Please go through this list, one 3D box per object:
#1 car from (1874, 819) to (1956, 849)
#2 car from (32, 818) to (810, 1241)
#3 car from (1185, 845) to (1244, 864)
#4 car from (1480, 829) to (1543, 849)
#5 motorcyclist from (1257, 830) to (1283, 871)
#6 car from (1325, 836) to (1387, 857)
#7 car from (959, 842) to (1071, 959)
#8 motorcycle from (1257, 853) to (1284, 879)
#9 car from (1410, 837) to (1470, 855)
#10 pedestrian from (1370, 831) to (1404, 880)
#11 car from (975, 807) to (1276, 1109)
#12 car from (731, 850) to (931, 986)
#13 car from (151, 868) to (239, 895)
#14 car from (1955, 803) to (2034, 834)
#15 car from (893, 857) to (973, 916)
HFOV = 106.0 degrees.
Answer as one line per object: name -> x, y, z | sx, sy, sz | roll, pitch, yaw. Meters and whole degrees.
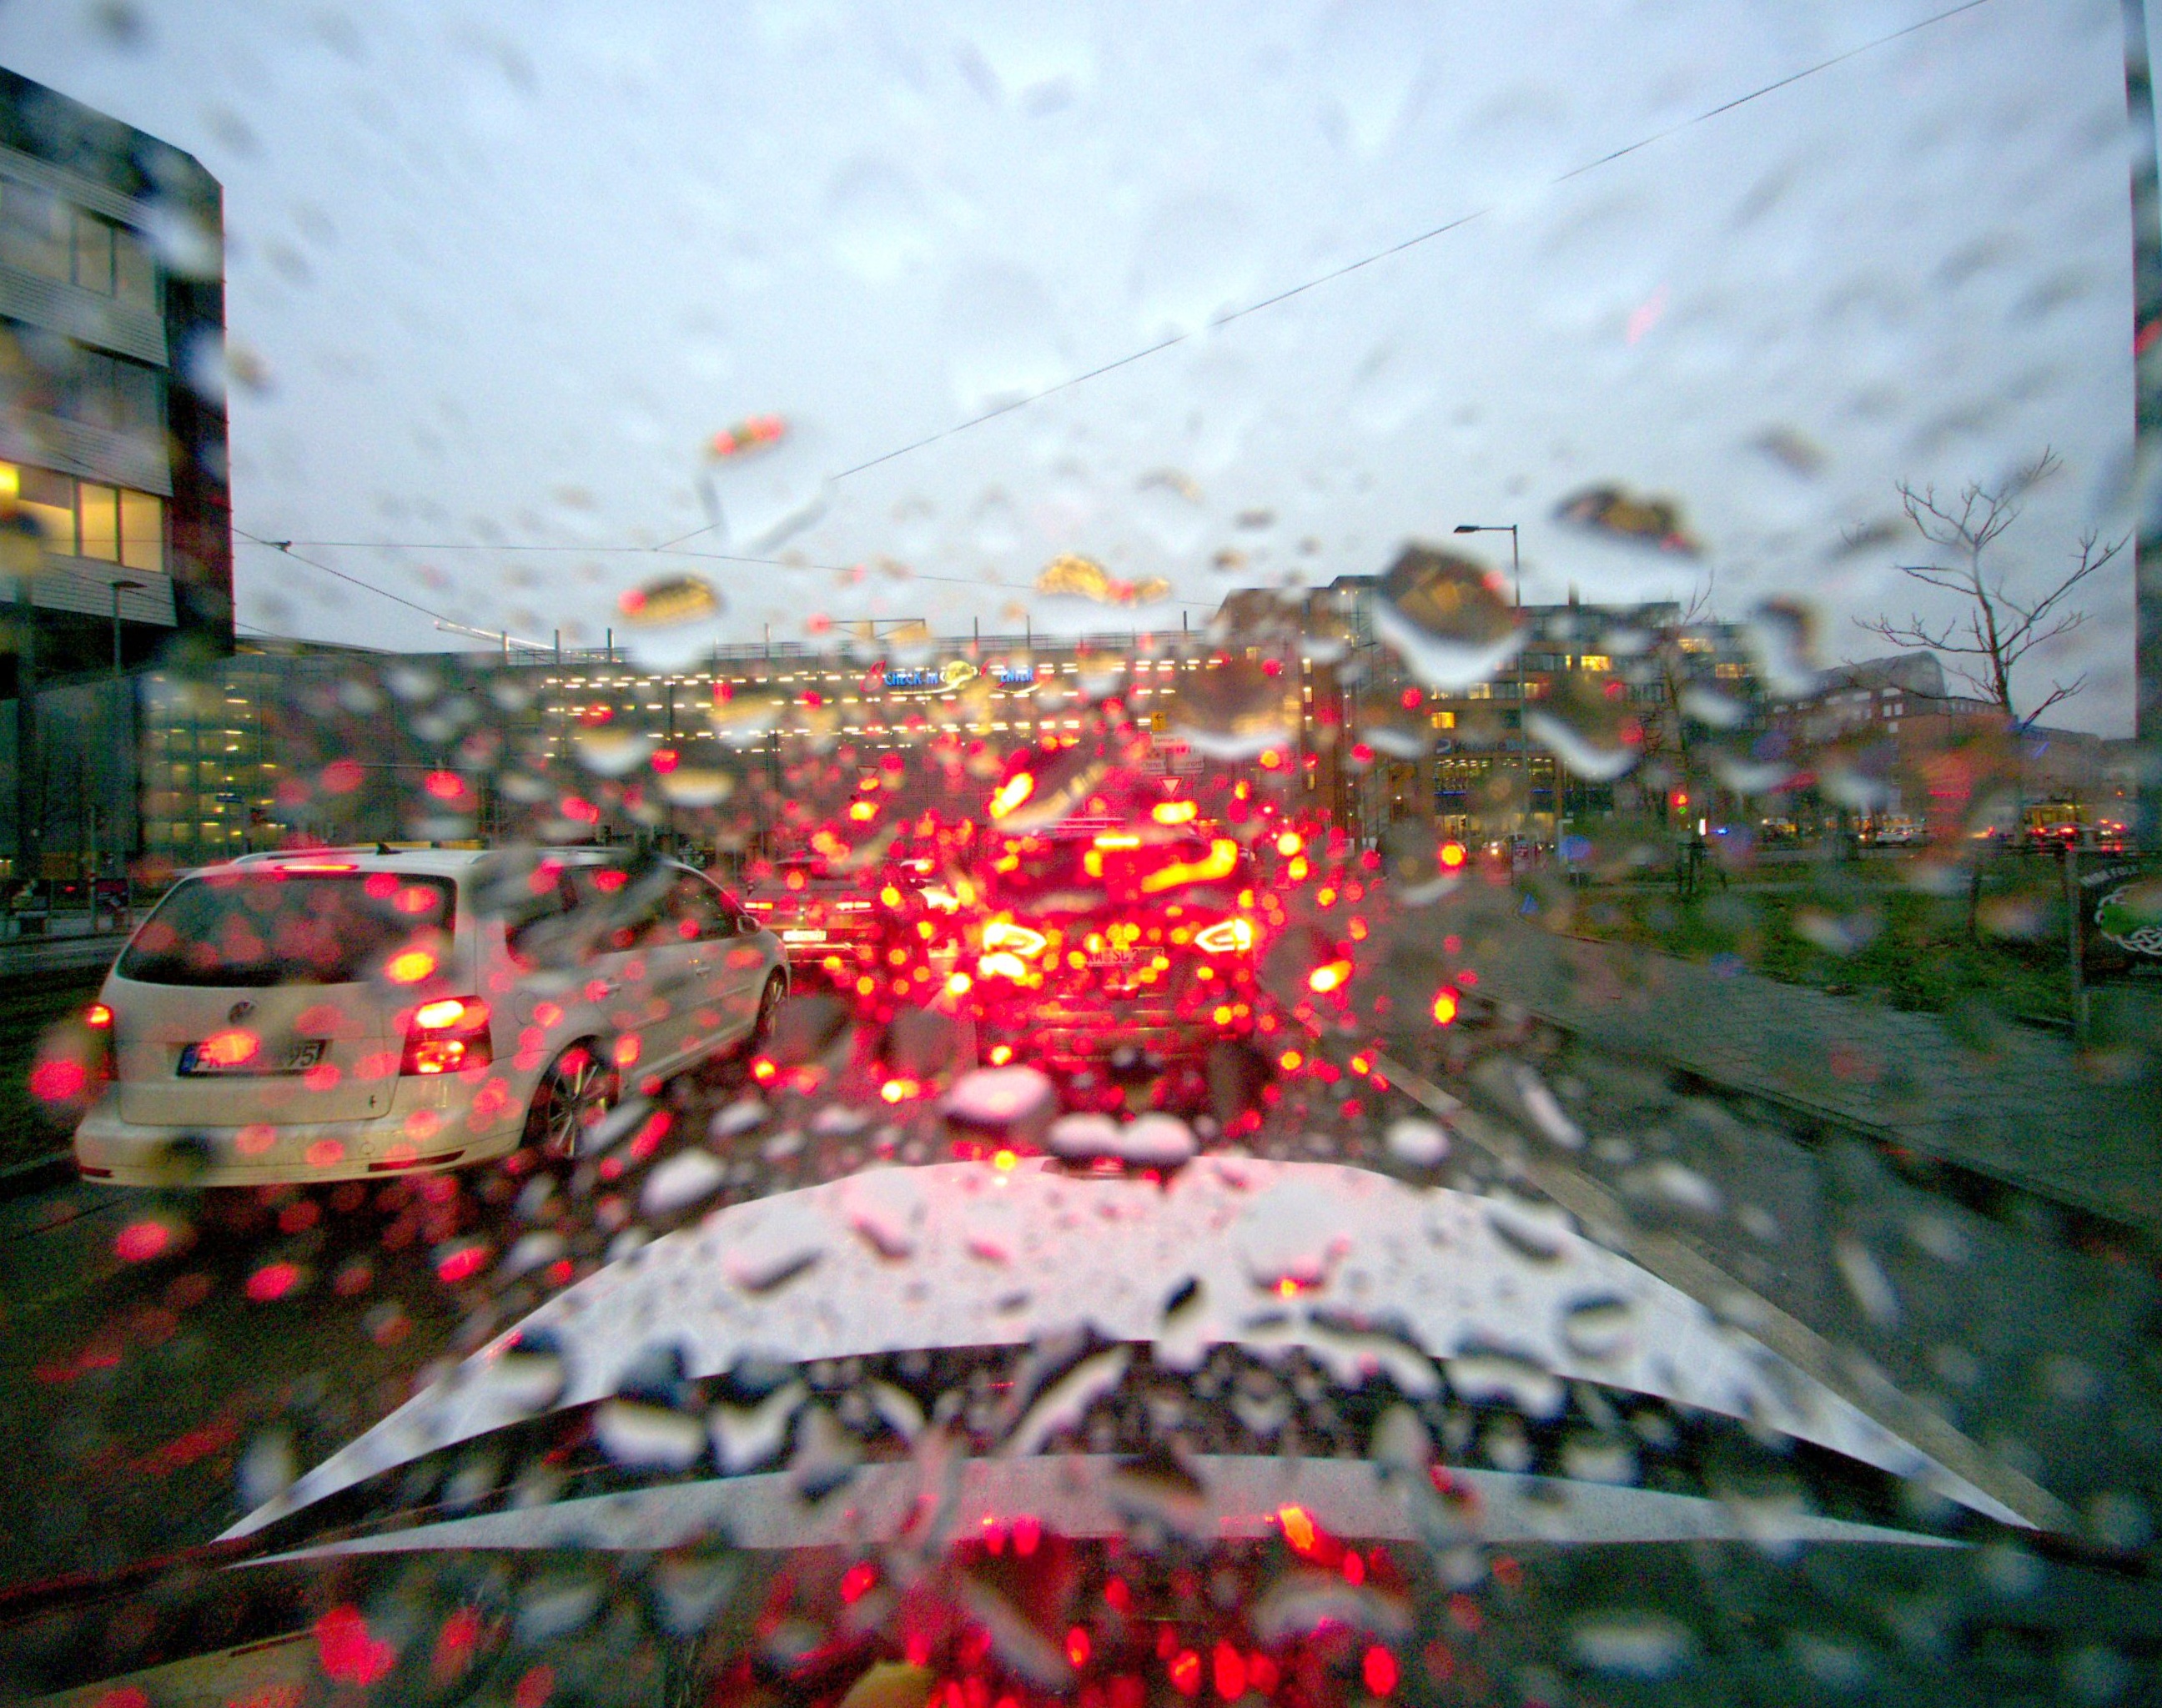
car -> 56.766, -1.336, 55.451 | 3.985, 2.013, 1.994 | 0, 0, -9
car -> -3.283, 0.677, 5.285 | 1.665, 1.660, 4.147 | 1, 0, 0
car -> 10.769, 0.060, 65.904 | 4.413, 1.390, 1.796 | -2, 0, -6
car -> 36.376, -1.231, 68.866 | 4.425, 1.534, 1.796 | -2, 0, -6
motorcyclist -> 7.328, -0.138, 31.636 | 0.863, 1.534, 1.110 | -2, 0, 7
car -> 22.469, -0.615, 66.568 | 4.413, 1.595, 1.796 | -2, 0, -6
car -> -1.042, 0.681, 13.810 | 1.632, 1.697, 3.667 | -1, 0, -3
motorcycle -> 7.340, 0.463, 31.619 | 0.848, 0.972, 1.585 | -2, 0, 7
car -> 29.893, -0.659, 67.790 | 4.209, 1.390, 1.796 | -2, 0, -6
pedestrian -> 12.075, 0.049, 32.148 | 1.159, 1.924, 0.904 | 1, 0, 25
car -> 0.250, 0.595, 6.836 | 1.730, 1.738, 4.246 | 1, 0, 0
car -> -3.366, 0.771, 11.787 | 1.748, 1.574, 3.997 | -2, 0, -2
car -> -71.839, 2.223, 66.109 | 4.831, 2.000, 1.797 | -2, 0, -5
car -> 64.322, -2.438, 57.321 | 4.948, 2.013, 1.987 | 0, 0, -20
car -> -3.477, 0.715, 19.734 | 1.538, 1.251, 4.059 | -1, 0, -6
